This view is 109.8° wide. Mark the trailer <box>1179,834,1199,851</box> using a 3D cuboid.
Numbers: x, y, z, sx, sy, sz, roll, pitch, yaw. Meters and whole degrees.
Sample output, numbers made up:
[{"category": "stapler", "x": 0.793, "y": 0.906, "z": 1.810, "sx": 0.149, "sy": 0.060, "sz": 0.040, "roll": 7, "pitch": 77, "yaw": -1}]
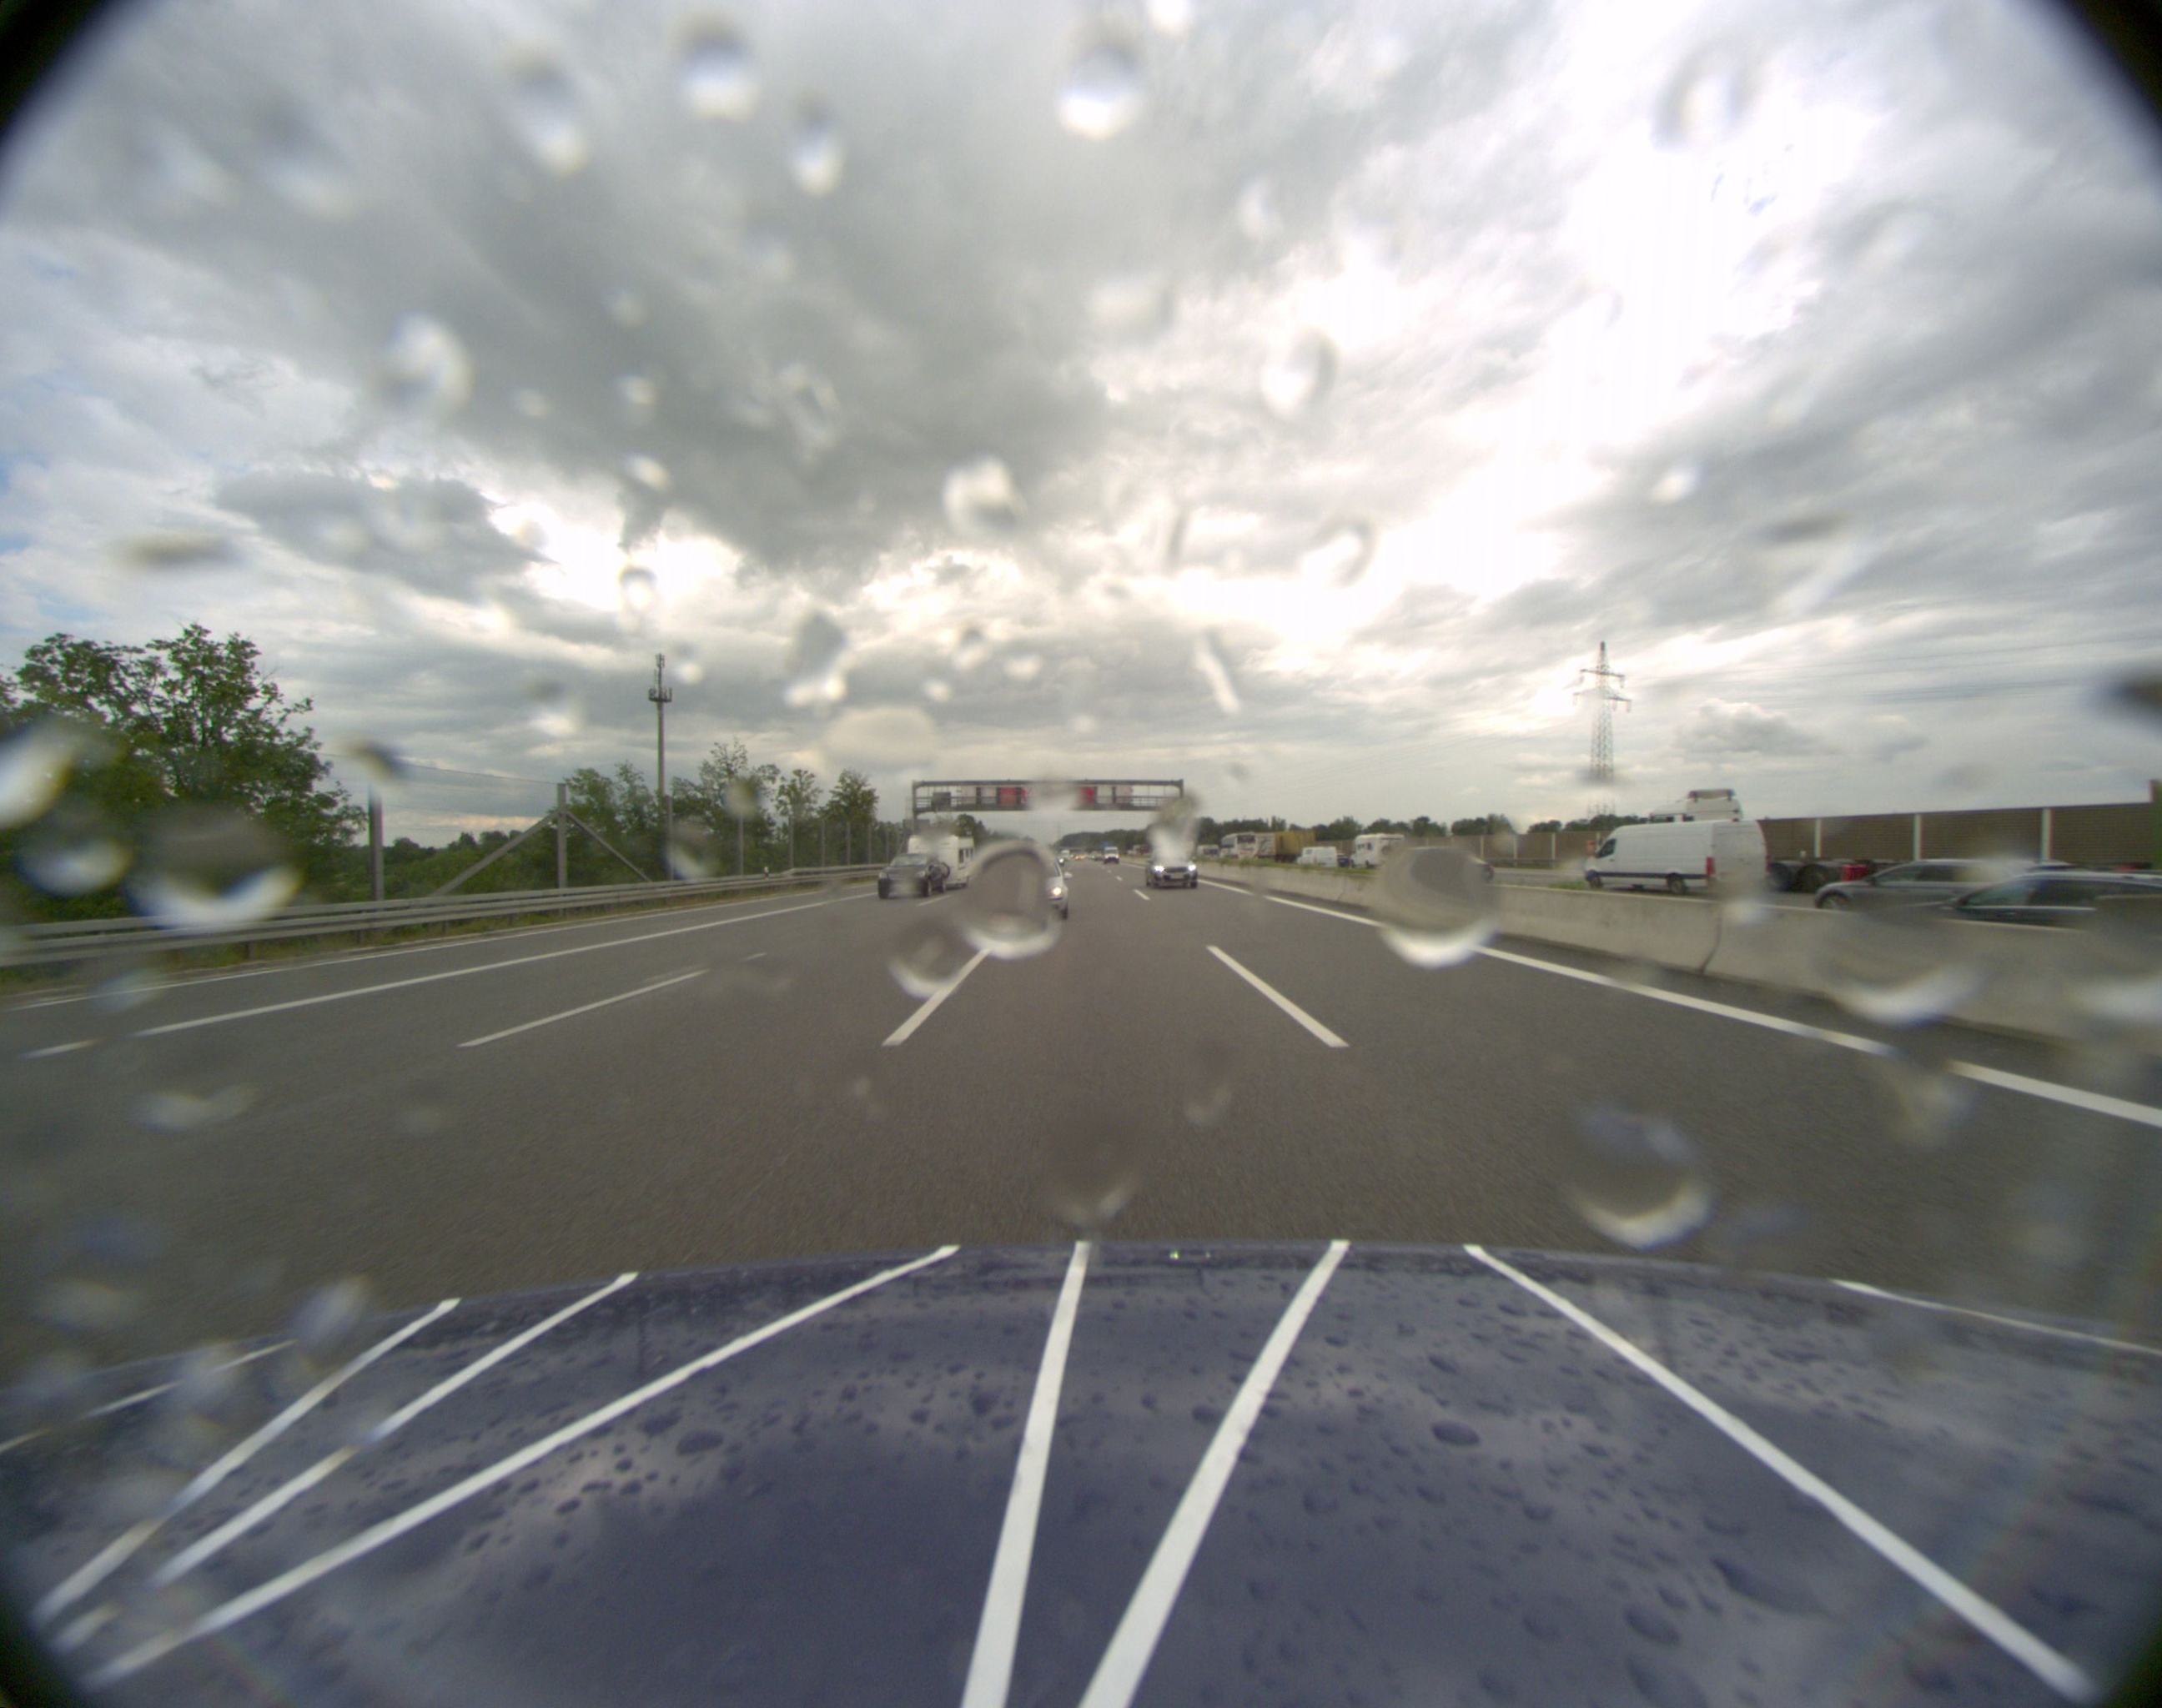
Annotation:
[{"category": "trailer", "x": 26.940, "y": -2.807, "z": 190.927, "sx": 2.908, "sy": 4.092, "sz": 12.696, "roll": -2, "pitch": 0, "yaw": -1}]

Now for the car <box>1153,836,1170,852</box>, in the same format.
[{"category": "car", "x": 22.062, "y": -2.711, "z": 208.602, "sx": 2.990, "sy": 4.100, "sz": 14.393, "roll": -2, "pitch": 0, "yaw": -1}]

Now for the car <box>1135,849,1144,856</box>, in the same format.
[{"category": "car", "x": 14.259, "y": -0.336, "z": 185.954, "sx": 1.721, "sy": 1.514, "sz": 4.212, "roll": -2, "pitch": 0, "yaw": -1}]

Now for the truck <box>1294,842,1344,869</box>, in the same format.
[{"category": "truck", "x": 18.801, "y": 0.099, "z": 60.339, "sx": 2.249, "sy": 1.988, "sz": 5.544, "roll": -1, "pitch": 1, "yaw": 0}]

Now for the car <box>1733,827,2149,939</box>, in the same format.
[{"category": "car", "x": 18.529, "y": 0.517, "z": 17.130, "sx": 2.455, "sy": 2.039, "sz": 6.193, "roll": -1, "pitch": 0, "yaw": 1}]

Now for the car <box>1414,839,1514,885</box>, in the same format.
[{"category": "car", "x": 18.704, "y": 0.334, "z": 37.462, "sx": 2.249, "sy": 2.102, "sz": 5.540, "roll": -1, "pitch": 1, "yaw": 1}]

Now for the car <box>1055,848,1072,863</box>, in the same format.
[{"category": "car", "x": -2.261, "y": 0.192, "z": 96.468, "sx": 1.999, "sy": 1.701, "sz": 3.999, "roll": -2, "pitch": 0, "yaw": -2}]

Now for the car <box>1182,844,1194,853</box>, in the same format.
[{"category": "car", "x": 22.183, "y": -1.083, "z": 157.835, "sx": 1.795, "sy": 1.729, "sz": 4.577, "roll": -2, "pitch": 0, "yaw": -1}]

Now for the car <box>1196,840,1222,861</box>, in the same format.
[{"category": "car", "x": 15.341, "y": -0.410, "z": 91.040, "sx": 2.141, "sy": 2.338, "sz": 5.710, "roll": -2, "pitch": 0, "yaw": 1}]

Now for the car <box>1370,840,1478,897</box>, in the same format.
[{"category": "car", "x": 14.599, "y": 0.533, "z": 32.762, "sx": 2.235, "sy": 2.224, "sz": 5.512, "roll": -1, "pitch": 1, "yaw": 1}]

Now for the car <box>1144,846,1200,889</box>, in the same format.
[{"category": "car", "x": 3.766, "y": 0.513, "z": 32.250, "sx": 1.840, "sy": 1.615, "sz": 4.914, "roll": -2, "pitch": 0, "yaw": 1}]

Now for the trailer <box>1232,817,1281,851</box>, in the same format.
[{"category": "trailer", "x": 22.673, "y": -2.467, "z": 99.033, "sx": 2.893, "sy": 3.938, "sz": 14.297, "roll": -2, "pitch": 0, "yaw": 0}]

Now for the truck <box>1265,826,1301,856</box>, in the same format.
[{"category": "truck", "x": 27.430, "y": -1.709, "z": 103.492, "sx": 3.036, "sy": 3.910, "sz": 7.710, "roll": -1, "pitch": 1, "yaw": 1}]

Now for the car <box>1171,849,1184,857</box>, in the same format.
[{"category": "car", "x": 18.778, "y": -0.211, "z": 147.843, "sx": 1.792, "sy": 1.373, "sz": 4.860, "roll": -2, "pitch": 0, "yaw": -1}]

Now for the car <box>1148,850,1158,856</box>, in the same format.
[{"category": "car", "x": 15.994, "y": -0.219, "z": 169.467, "sx": 1.721, "sy": 1.418, "sz": 4.860, "roll": -2, "pitch": 0, "yaw": -1}]

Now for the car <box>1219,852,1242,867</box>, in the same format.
[{"category": "car", "x": 15.097, "y": 0.552, "z": 76.900, "sx": 1.618, "sy": 1.380, "sz": 3.327, "roll": -1, "pitch": 0, "yaw": -1}]

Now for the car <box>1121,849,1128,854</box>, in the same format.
[{"category": "car", "x": 13.527, "y": -0.811, "z": 234.009, "sx": 1.792, "sy": 1.656, "sz": 4.295, "roll": -2, "pitch": 0, "yaw": -1}]

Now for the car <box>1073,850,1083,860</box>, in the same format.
[{"category": "car", "x": -0.714, "y": 0.167, "z": 166.432, "sx": 1.999, "sy": 2.002, "sz": 3.999, "roll": -2, "pitch": 0, "yaw": -1}]

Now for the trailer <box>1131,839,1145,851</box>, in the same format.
[{"category": "trailer", "x": 20.206, "y": -3.031, "z": 269.739, "sx": 3.669, "sy": 4.084, "sz": 13.398, "roll": -2, "pitch": 0, "yaw": 0}]

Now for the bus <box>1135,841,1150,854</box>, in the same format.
[{"category": "bus", "x": 17.644, "y": -1.849, "z": 219.247, "sx": 2.897, "sy": 3.590, "sz": 12.757, "roll": -2, "pitch": 0, "yaw": -1}]

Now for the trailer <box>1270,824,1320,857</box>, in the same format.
[{"category": "trailer", "x": 27.350, "y": -1.722, "z": 97.748, "sx": 3.036, "sy": 3.910, "sz": 12.973, "roll": -1, "pitch": 1, "yaw": 1}]

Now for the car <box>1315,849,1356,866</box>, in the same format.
[{"category": "car", "x": 22.007, "y": 0.275, "z": 65.819, "sx": 1.969, "sy": 1.378, "sz": 4.944, "roll": -1, "pitch": 1, "yaw": 1}]

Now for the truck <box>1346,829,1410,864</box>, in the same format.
[{"category": "truck", "x": 25.884, "y": -0.674, "z": 66.619, "sx": 2.698, "sy": 2.798, "sz": 7.833, "roll": -1, "pitch": 1, "yaw": 1}]

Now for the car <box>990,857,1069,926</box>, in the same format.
[{"category": "car", "x": -1.182, "y": 0.839, "z": 18.984, "sx": 1.683, "sy": 1.437, "sz": 3.999, "roll": -2, "pitch": 1, "yaw": -1}]

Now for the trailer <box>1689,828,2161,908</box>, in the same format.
[{"category": "trailer", "x": 25.907, "y": 0.255, "z": 22.671, "sx": 2.759, "sy": 1.818, "sz": 16.348, "roll": -1, "pitch": 0, "yaw": 1}]

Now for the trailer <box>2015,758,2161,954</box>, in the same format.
[{"category": "trailer", "x": 18.388, "y": 0.022, "z": 10.964, "sx": 2.455, "sy": 3.120, "sz": 6.050, "roll": -1, "pitch": 0, "yaw": 1}]

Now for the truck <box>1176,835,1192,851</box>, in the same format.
[{"category": "truck", "x": 26.875, "y": -2.779, "z": 198.472, "sx": 2.908, "sy": 4.092, "sz": 6.621, "roll": -2, "pitch": 0, "yaw": -1}]

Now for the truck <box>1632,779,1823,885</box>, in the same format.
[{"category": "truck", "x": 26.040, "y": -0.836, "z": 31.060, "sx": 2.759, "sy": 3.865, "sz": 6.050, "roll": -1, "pitch": 1, "yaw": 1}]

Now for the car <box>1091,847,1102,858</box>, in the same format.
[{"category": "car", "x": 2.993, "y": -0.344, "z": 149.077, "sx": 1.999, "sy": 2.002, "sz": 3.999, "roll": -2, "pitch": 0, "yaw": -1}]

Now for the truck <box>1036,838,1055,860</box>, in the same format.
[{"category": "truck", "x": -6.217, "y": -0.870, "z": 133.776, "sx": 2.870, "sy": 3.633, "sz": 9.593, "roll": -2, "pitch": 0, "yaw": -1}]

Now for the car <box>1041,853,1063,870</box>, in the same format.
[{"category": "car", "x": -2.572, "y": 0.667, "z": 69.051, "sx": 1.841, "sy": 1.437, "sz": 3.999, "roll": -2, "pitch": 0, "yaw": -1}]

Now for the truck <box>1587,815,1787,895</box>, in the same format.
[{"category": "truck", "x": 22.152, "y": 0.005, "z": 28.317, "sx": 2.249, "sy": 2.589, "sz": 6.558, "roll": -1, "pitch": 1, "yaw": 0}]

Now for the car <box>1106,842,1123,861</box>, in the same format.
[{"category": "car", "x": 4.584, "y": -0.305, "z": 105.651, "sx": 1.999, "sy": 2.524, "sz": 4.807, "roll": -2, "pitch": 0, "yaw": -1}]

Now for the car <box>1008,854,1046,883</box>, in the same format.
[{"category": "car", "x": -2.797, "y": 0.724, "z": 40.196, "sx": 1.717, "sy": 1.437, "sz": 3.999, "roll": -2, "pitch": 0, "yaw": -1}]

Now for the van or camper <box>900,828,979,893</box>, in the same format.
[{"category": "van or camper", "x": -6.565, "y": 0.274, "z": 36.371, "sx": 2.390, "sy": 2.723, "sz": 7.208, "roll": -2, "pitch": 0, "yaw": -1}]

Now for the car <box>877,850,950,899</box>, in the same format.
[{"category": "car", "x": -6.606, "y": 0.759, "z": 30.489, "sx": 1.925, "sy": 1.766, "sz": 4.502, "roll": -2, "pitch": 0, "yaw": -1}]

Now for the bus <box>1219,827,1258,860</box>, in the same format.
[{"category": "bus", "x": 18.823, "y": -1.273, "z": 91.280, "sx": 2.660, "sy": 3.658, "sz": 10.633, "roll": -1, "pitch": 1, "yaw": 1}]

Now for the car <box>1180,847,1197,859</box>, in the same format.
[{"category": "car", "x": 15.476, "y": -0.139, "z": 109.942, "sx": 1.741, "sy": 1.530, "sz": 4.376, "roll": -2, "pitch": 0, "yaw": -1}]
